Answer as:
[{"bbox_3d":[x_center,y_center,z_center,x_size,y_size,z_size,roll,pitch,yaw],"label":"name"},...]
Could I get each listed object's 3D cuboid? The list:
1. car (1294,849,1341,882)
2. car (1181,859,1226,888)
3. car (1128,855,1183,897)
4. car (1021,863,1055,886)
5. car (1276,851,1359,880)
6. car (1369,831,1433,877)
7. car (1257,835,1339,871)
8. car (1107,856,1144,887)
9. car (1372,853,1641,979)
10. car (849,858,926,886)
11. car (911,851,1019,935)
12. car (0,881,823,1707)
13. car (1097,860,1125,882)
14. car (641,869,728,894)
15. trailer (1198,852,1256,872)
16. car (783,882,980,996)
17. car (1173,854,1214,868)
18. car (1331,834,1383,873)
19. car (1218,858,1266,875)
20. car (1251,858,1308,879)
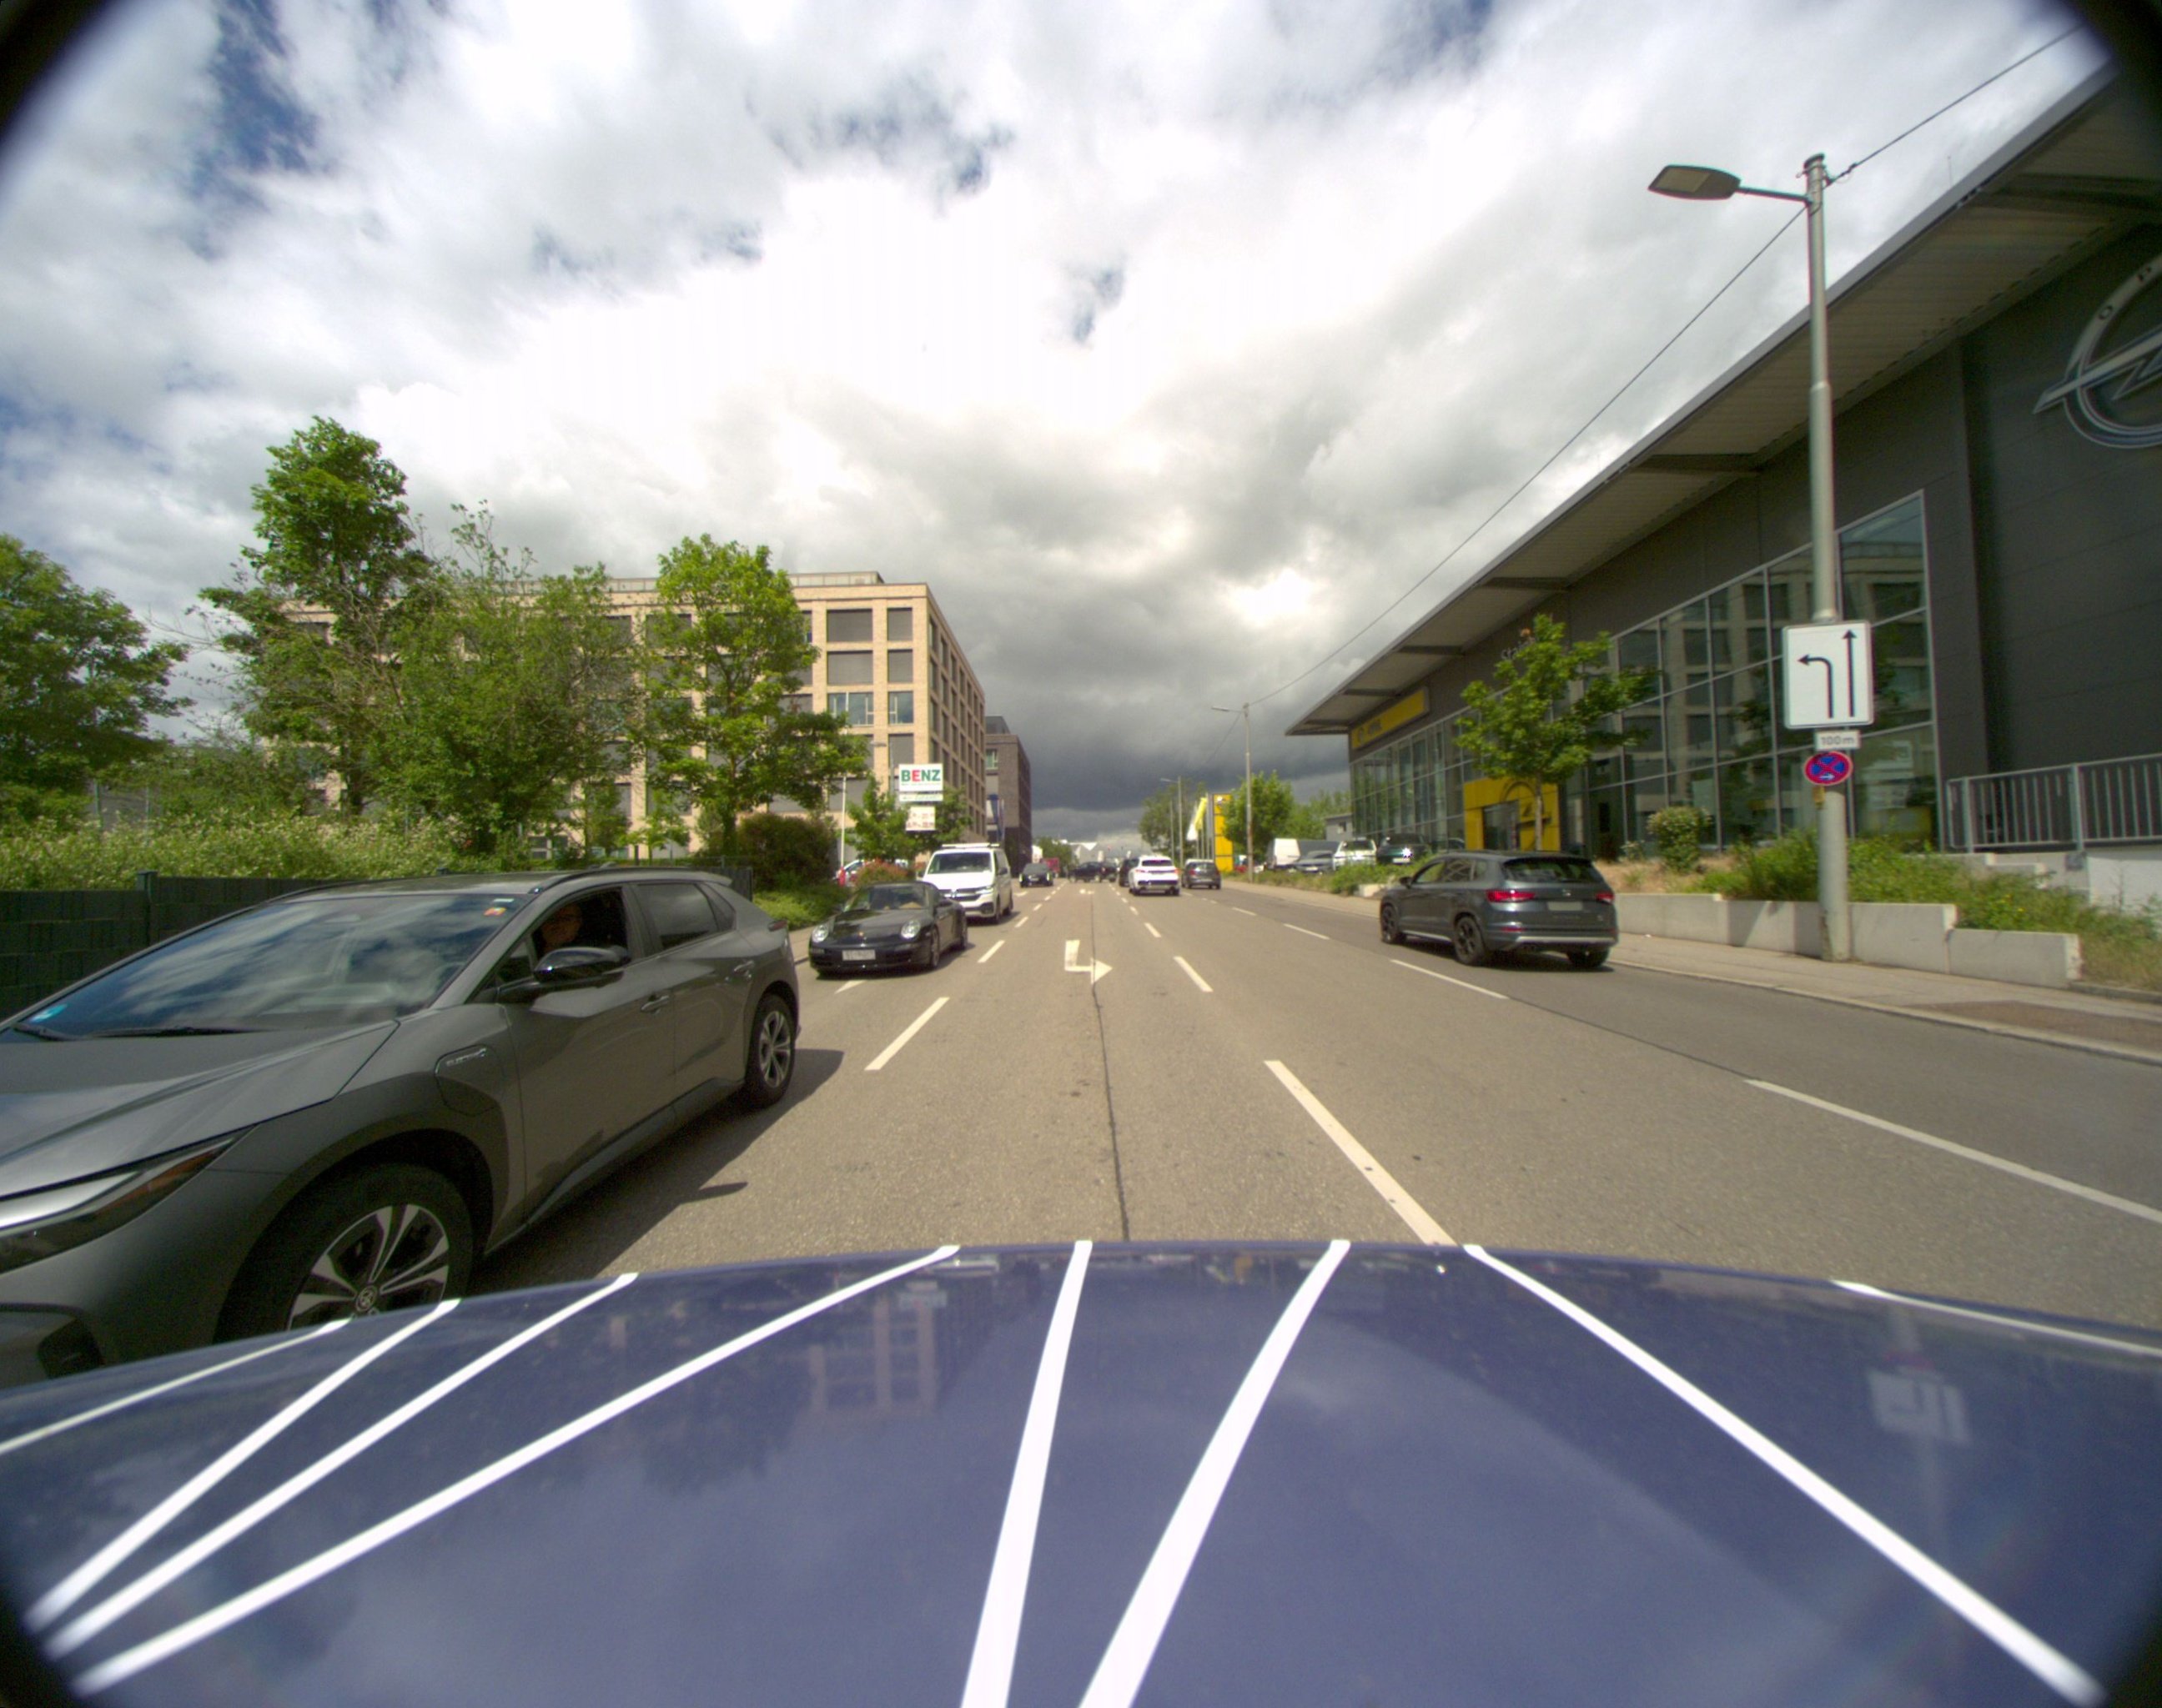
[{"bbox_3d":[12.196,0.545,39.041,1.794,1.604,4.116,-1,0,24],"label":"car"},{"bbox_3d":[6.319,0.989,39.616,1.763,1.405,3.734,1,0,1],"label":"car"},{"bbox_3d":[3.111,0.878,32.375,1.924,1.604,4.416,-1,0,1],"label":"car"},{"bbox_3d":[-2.644,1.248,47.512,1.777,1.267,4.568,0,1,2],"label":"car"},{"bbox_3d":[13.332,0.631,42.986,4.108,1.604,1.797,-1,0,-8],"label":"car"},{"bbox_3d":[12.209,0.008,28.814,1.817,1.604,4.117,-1,0,29],"label":"car"},{"bbox_3d":[13.567,-0.068,47.731,4.531,2.182,2.179,-1,1,-1],"label":"car"},{"bbox_3d":[2.488,0.962,43.246,1.797,1.604,4.108,-1,0,-1],"label":"car"},{"bbox_3d":[5.985,0.765,11.301,1.763,1.513,3.957,-1,0,0],"label":"car"},{"bbox_3d":[-11.568,1.075,45.549,4.220,1.567,1.735,-1,0,-4],"label":"car"},{"bbox_3d":[-2.876,0.917,19.927,1.964,1.840,4.645,-3,0,1],"label":"car"},{"bbox_3d":[-2.967,1.036,3.376,1.924,1.604,4.683,-3,0,1],"label":"car"},{"bbox_3d":[2.085,1.167,53.621,1.731,1.494,3.438,-1,0,-1],"label":"car"},{"bbox_3d":[-23.381,1.625,44.914,4.219,1.410,1.735,-1,0,-1],"label":"car"},{"bbox_3d":[13.143,0.699,68.656,4.835,1.742,2.095,-1,0,-3],"label":"trailer"},{"bbox_3d":[-2.910,1.194,12.197,1.777,1.267,4.569,-3,0,2],"label":"car"},{"bbox_3d":[12.461,0.794,84.404,4.252,1.473,2.095,-1,0,-2],"label":"car"},{"bbox_3d":[12.281,-0.038,33.627,1.793,1.604,4.116,-1,0,25],"label":"car"},{"bbox_3d":[13.701,1.063,64.769,3.669,1.401,1.815,-1,0,2],"label":"car"},{"bbox_3d":[14.955,1.097,57.341,3.946,1.518,1.561,-1,0,-2],"label":"car"}]
